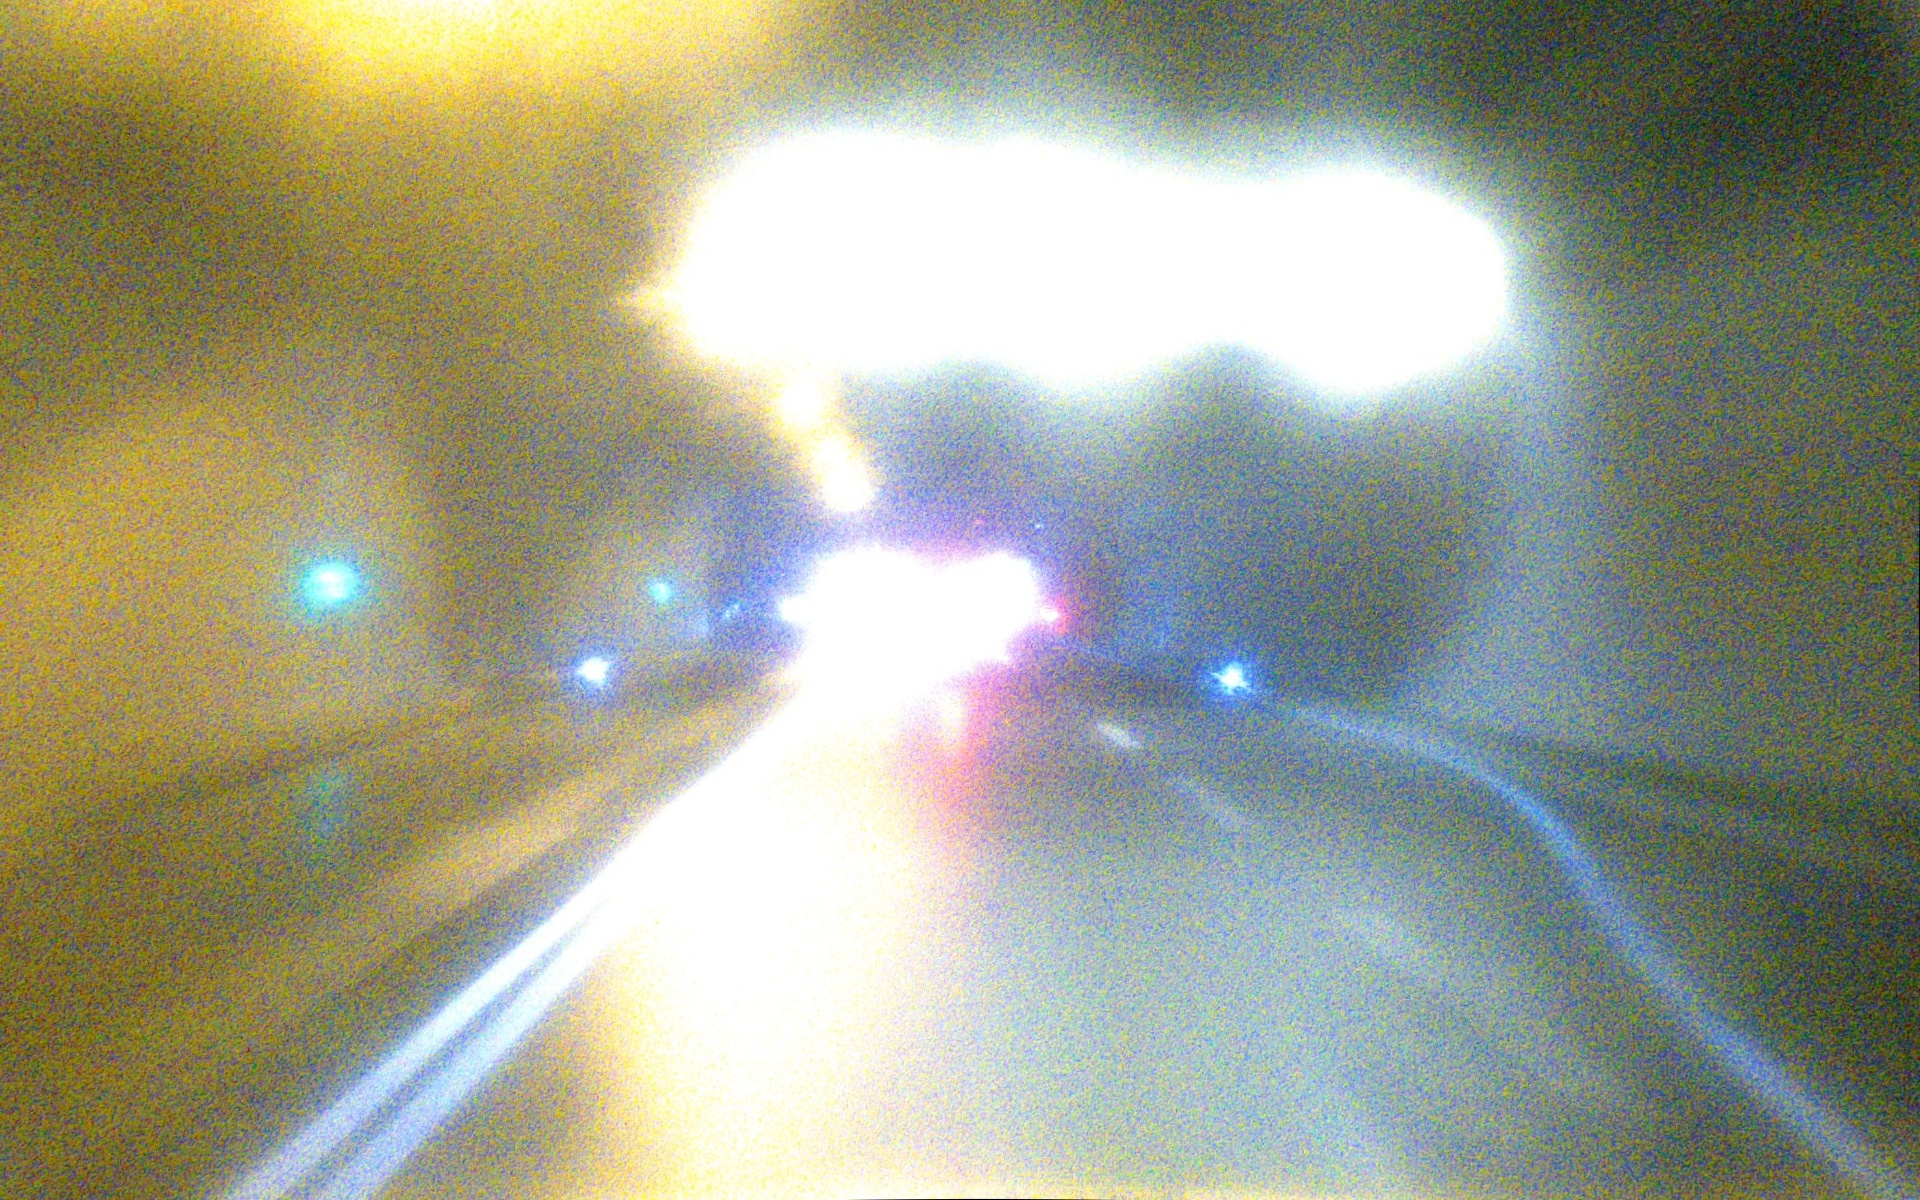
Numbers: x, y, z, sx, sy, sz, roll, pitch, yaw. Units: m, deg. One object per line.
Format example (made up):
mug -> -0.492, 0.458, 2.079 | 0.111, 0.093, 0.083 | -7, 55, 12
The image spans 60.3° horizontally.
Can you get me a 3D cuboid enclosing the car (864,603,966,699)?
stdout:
car -> -0.813, 0.922, 31.027 | 1.772, 1.650, 3.999 | 1, -1, -1
